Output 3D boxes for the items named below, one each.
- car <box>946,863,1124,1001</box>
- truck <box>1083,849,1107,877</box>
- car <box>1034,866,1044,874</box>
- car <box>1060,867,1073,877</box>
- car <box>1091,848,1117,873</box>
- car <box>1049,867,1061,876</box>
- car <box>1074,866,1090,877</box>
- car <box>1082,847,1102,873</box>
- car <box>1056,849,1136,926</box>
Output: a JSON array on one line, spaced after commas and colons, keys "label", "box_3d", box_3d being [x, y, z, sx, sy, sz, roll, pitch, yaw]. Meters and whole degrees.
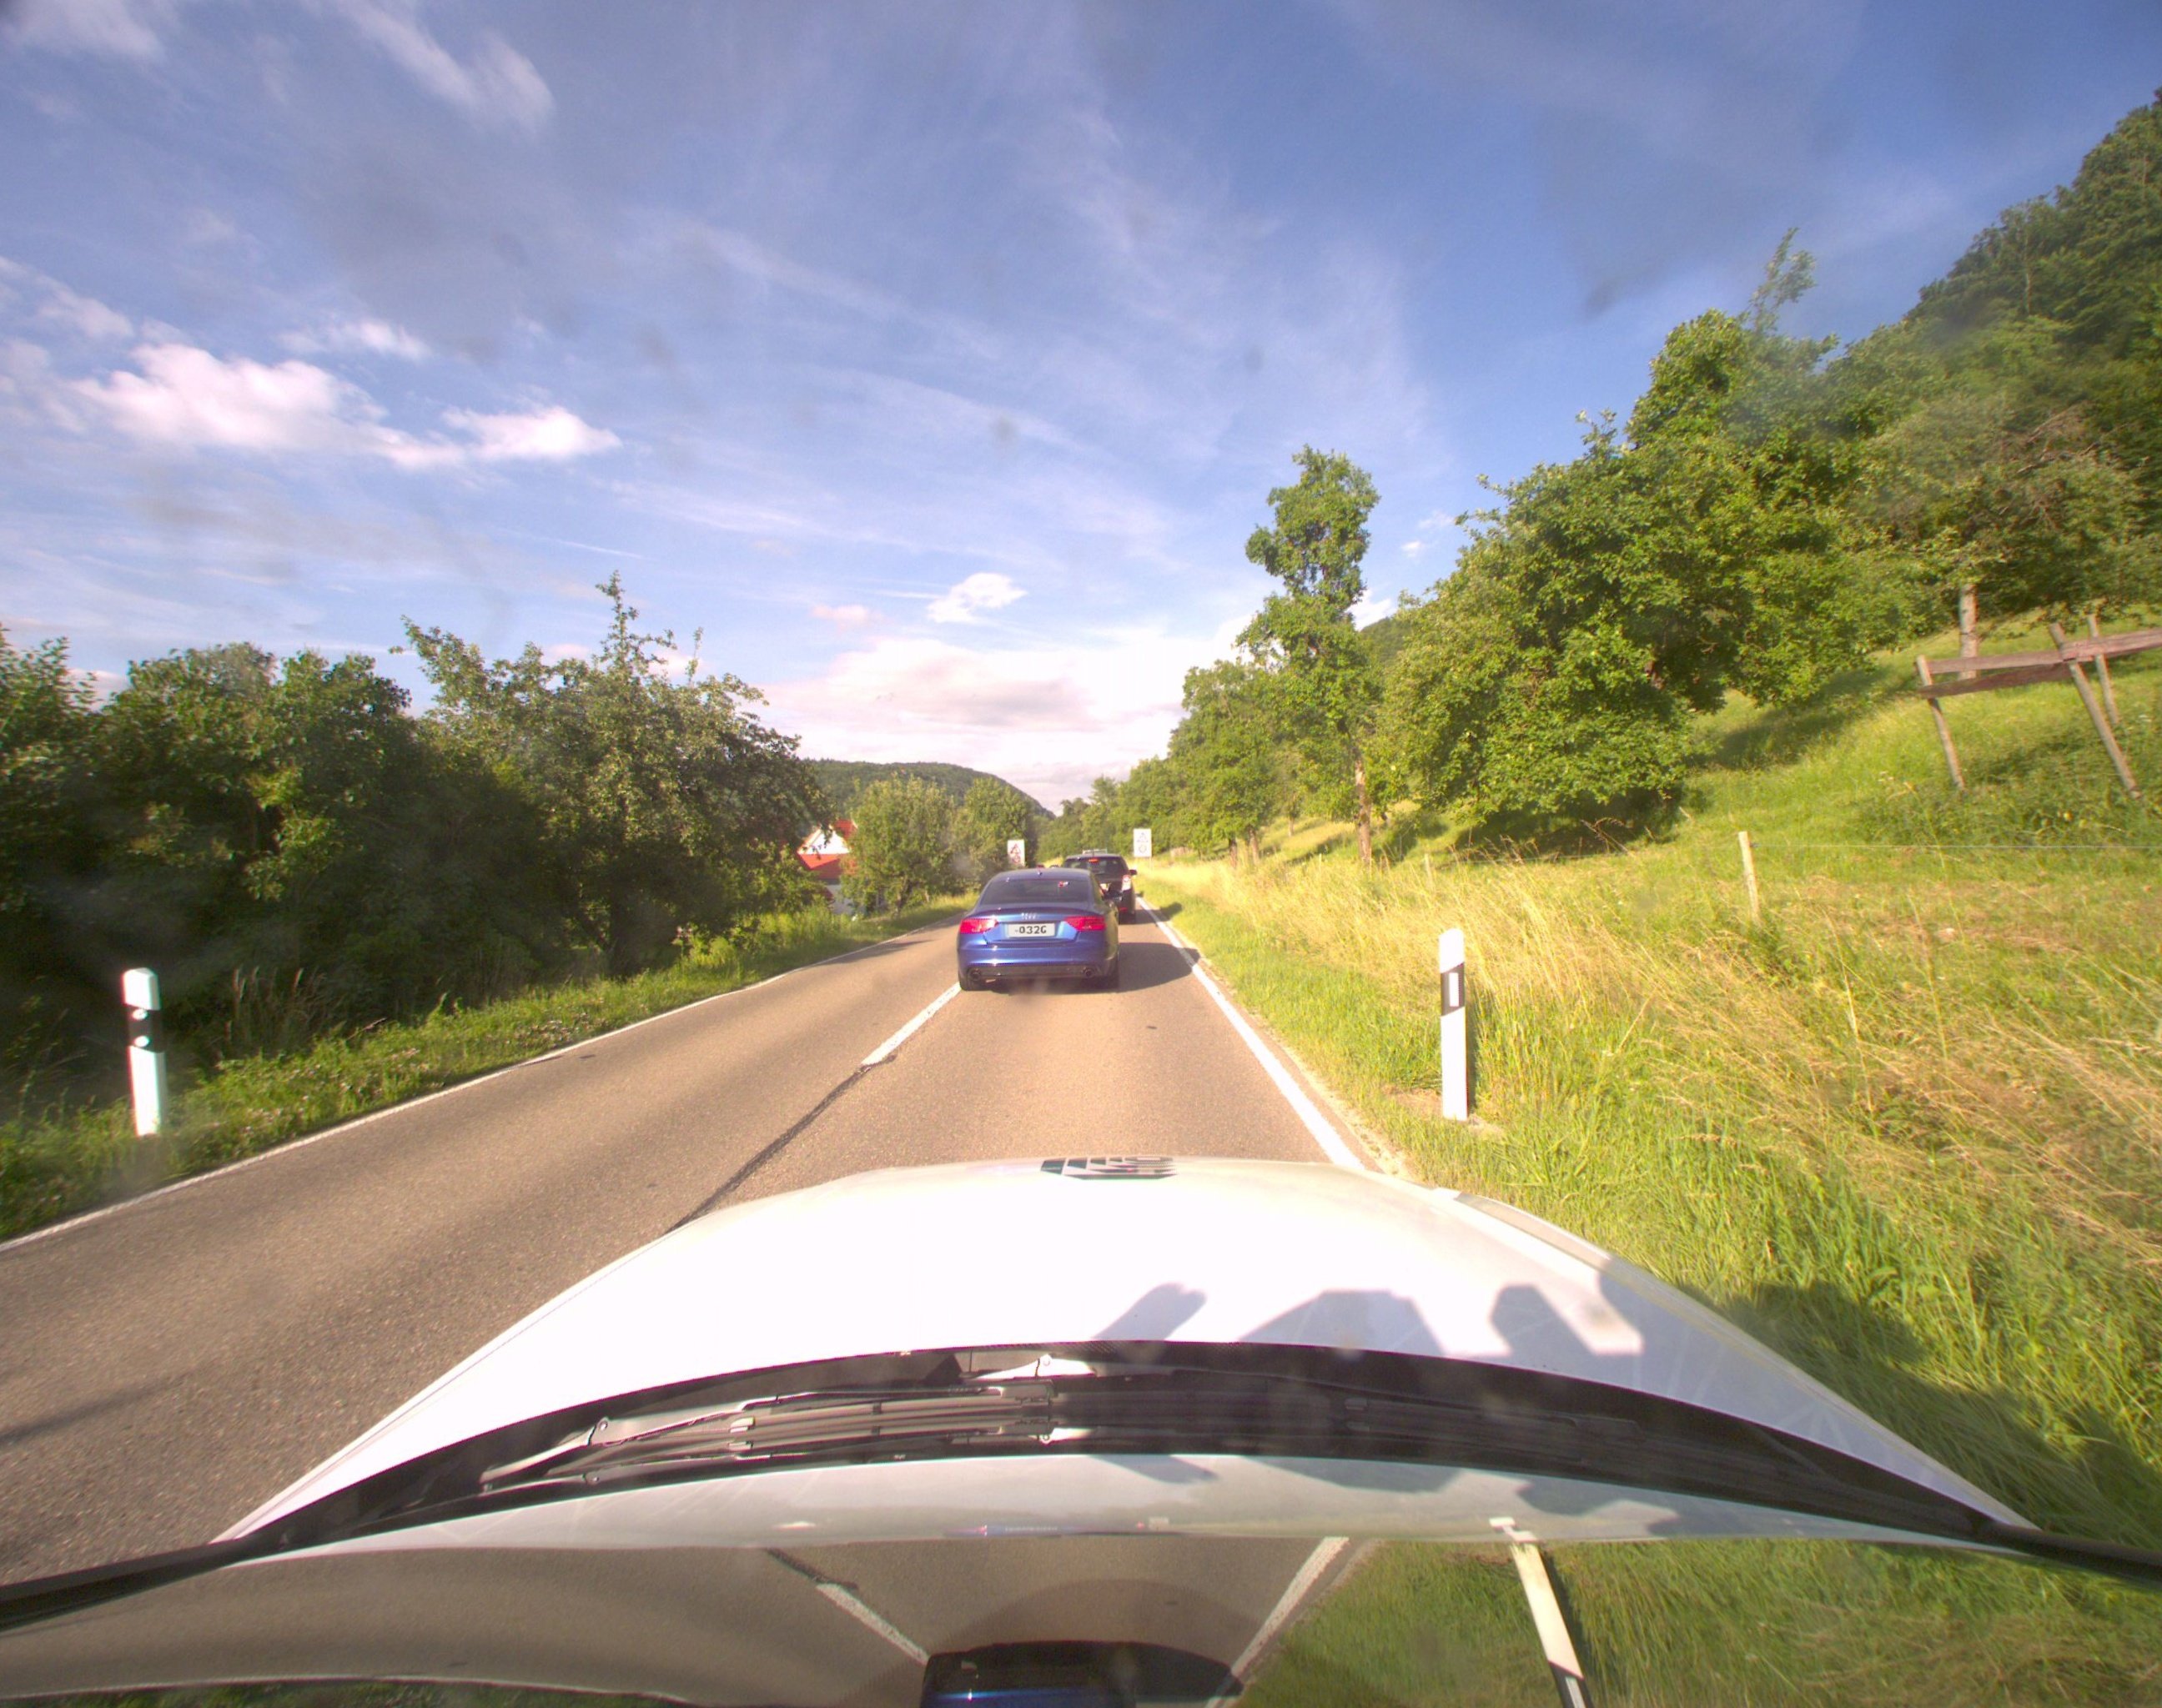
[{"label": "car", "box_3d": [-0.402, 0.827, 10.483, 1.799, 1.382, 4.216, -1, -1, 2]}, {"label": "truck", "box_3d": [1.182, 0.746, 69.412, 1.943, 2.345, 5.094, 0, 0, 1]}, {"label": "car", "box_3d": [-8.403, 3.219, 162.645, 1.559, 1.496, 3.764, 1, 0, -11]}, {"label": "car", "box_3d": [-2.311, 2.768, 128.559, 1.746, 1.496, 3.769, 1, 0, -7]}, {"label": "car", "box_3d": [1.592, 0.433, 55.801, 1.686, 1.624, 3.790, -1, 0, 1]}, {"label": "car", "box_3d": [-4.620, 3.022, 143.018, 1.559, 1.496, 3.765, 1, 0, -10]}, {"label": "car", "box_3d": [0.104, 2.377, 110.403, 1.746, 1.496, 3.769, 1, 0, -7]}, {"label": "car", "box_3d": [1.073, 0.606, 79.376, 1.787, 2.453, 3.917, 0, 0, -1]}, {"label": "car", "box_3d": [0.371, 0.717, 19.192, 1.686, 1.624, 3.790, -1, 0, 1]}]
